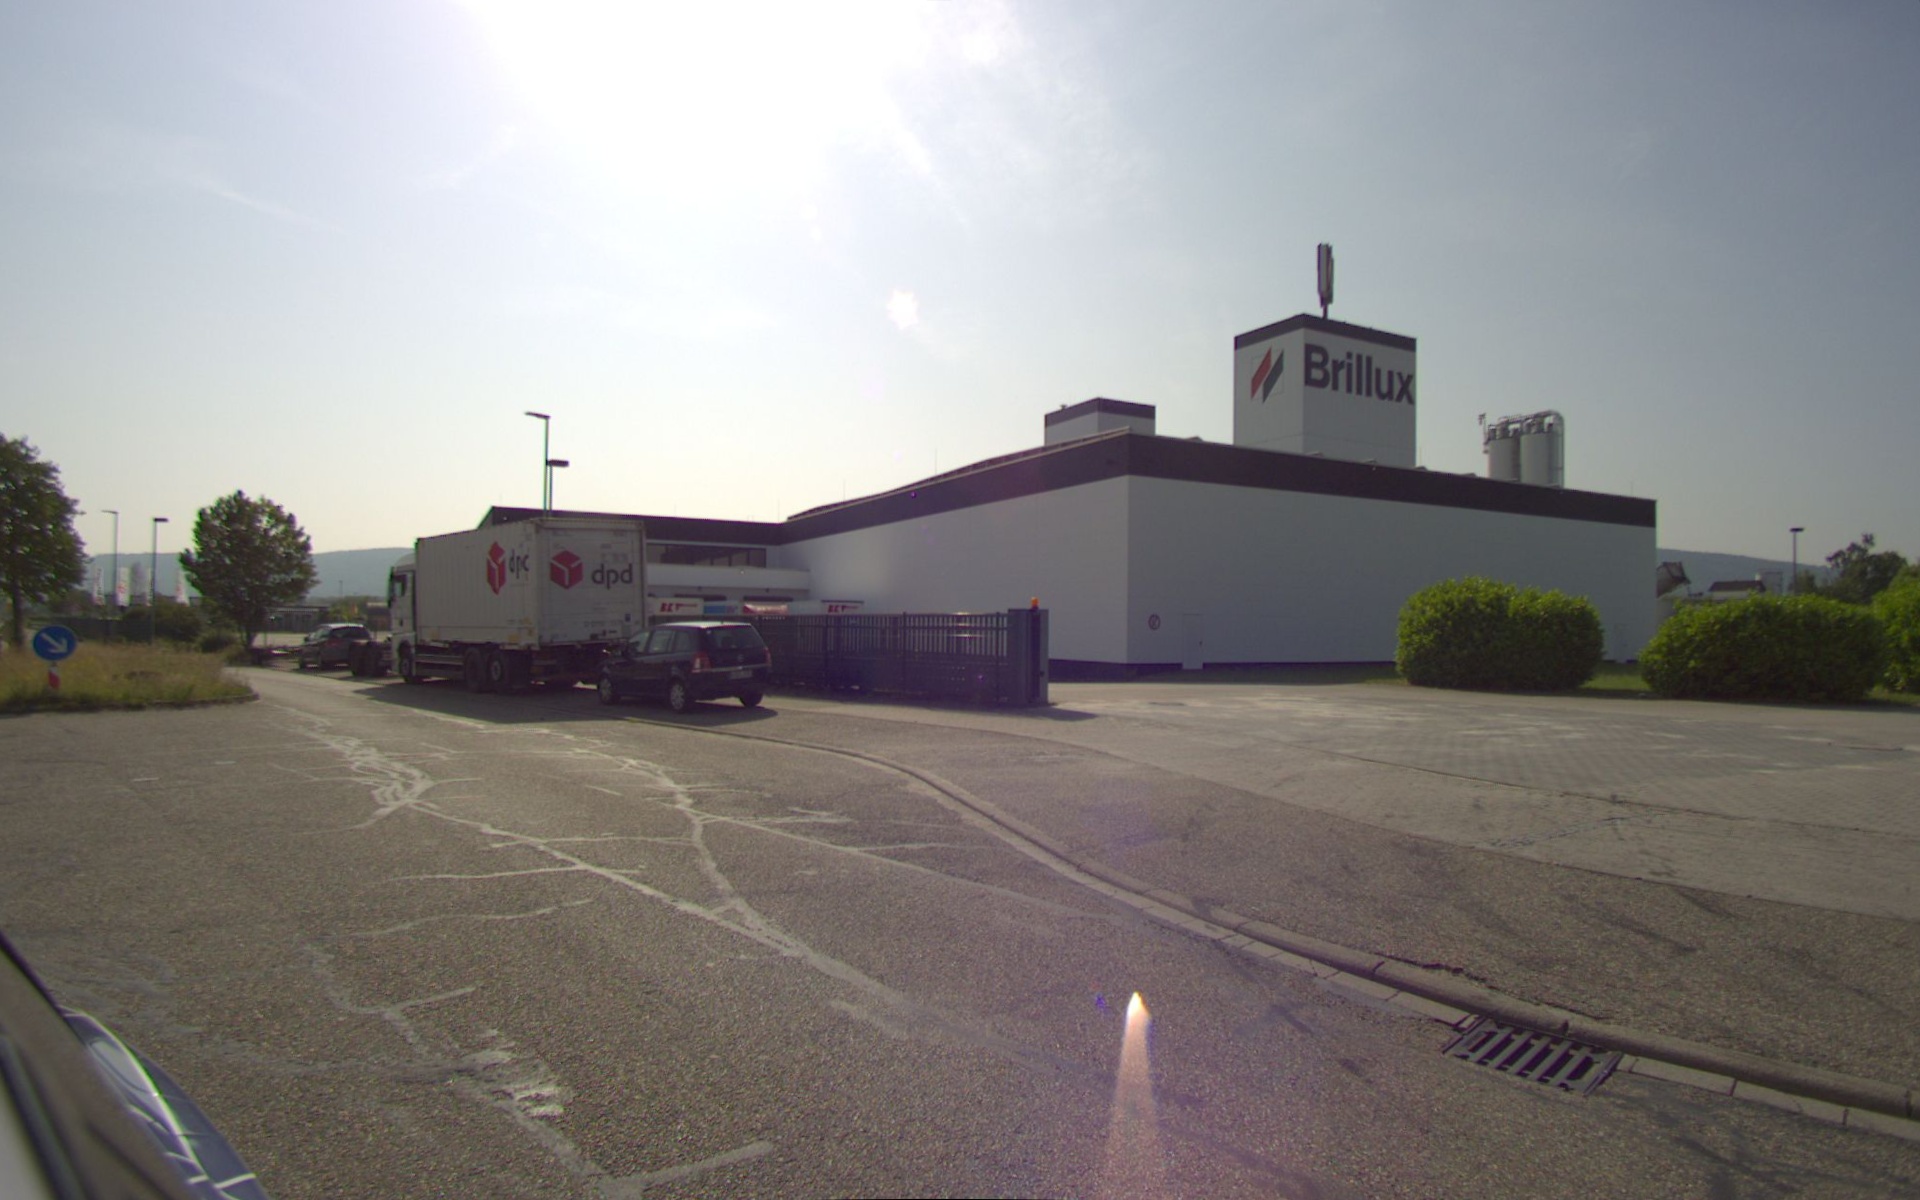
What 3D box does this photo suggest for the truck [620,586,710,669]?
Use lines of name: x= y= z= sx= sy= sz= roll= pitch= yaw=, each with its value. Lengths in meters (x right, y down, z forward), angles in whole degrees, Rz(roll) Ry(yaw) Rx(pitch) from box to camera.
truck: x=-16.434 y=1.537 z=55.925 sx=2.989 sy=4.167 sz=9.268 roll=2 pitch=-2 yaw=-27

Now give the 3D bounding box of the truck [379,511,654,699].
truck: x=-11.454 y=0.142 z=25.354 sx=10.067 sy=3.883 sz=2.745 roll=-1 pitch=0 yaw=45

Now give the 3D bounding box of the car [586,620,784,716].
car: x=-5.349 y=1.220 z=19.375 sx=4.194 sy=1.604 sz=1.743 roll=-2 pitch=-1 yaw=44

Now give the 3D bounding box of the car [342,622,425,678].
car: x=-17.900 y=1.516 z=31.357 sx=3.169 sy=1.619 sz=1.422 roll=-2 pitch=-1 yaw=44

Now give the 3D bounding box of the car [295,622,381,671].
car: x=-22.169 y=1.605 z=36.000 sx=3.968 sy=1.594 sz=1.711 roll=-2 pitch=-1 yaw=45

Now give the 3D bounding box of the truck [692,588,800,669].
truck: x=-12.355 y=1.622 z=57.332 sx=2.742 sy=4.076 sz=12.393 roll=2 pitch=-2 yaw=-27

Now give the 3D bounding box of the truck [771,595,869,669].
truck: x=-8.485 y=1.878 z=60.153 sx=2.859 sy=4.087 sz=9.268 roll=1 pitch=-2 yaw=-27
